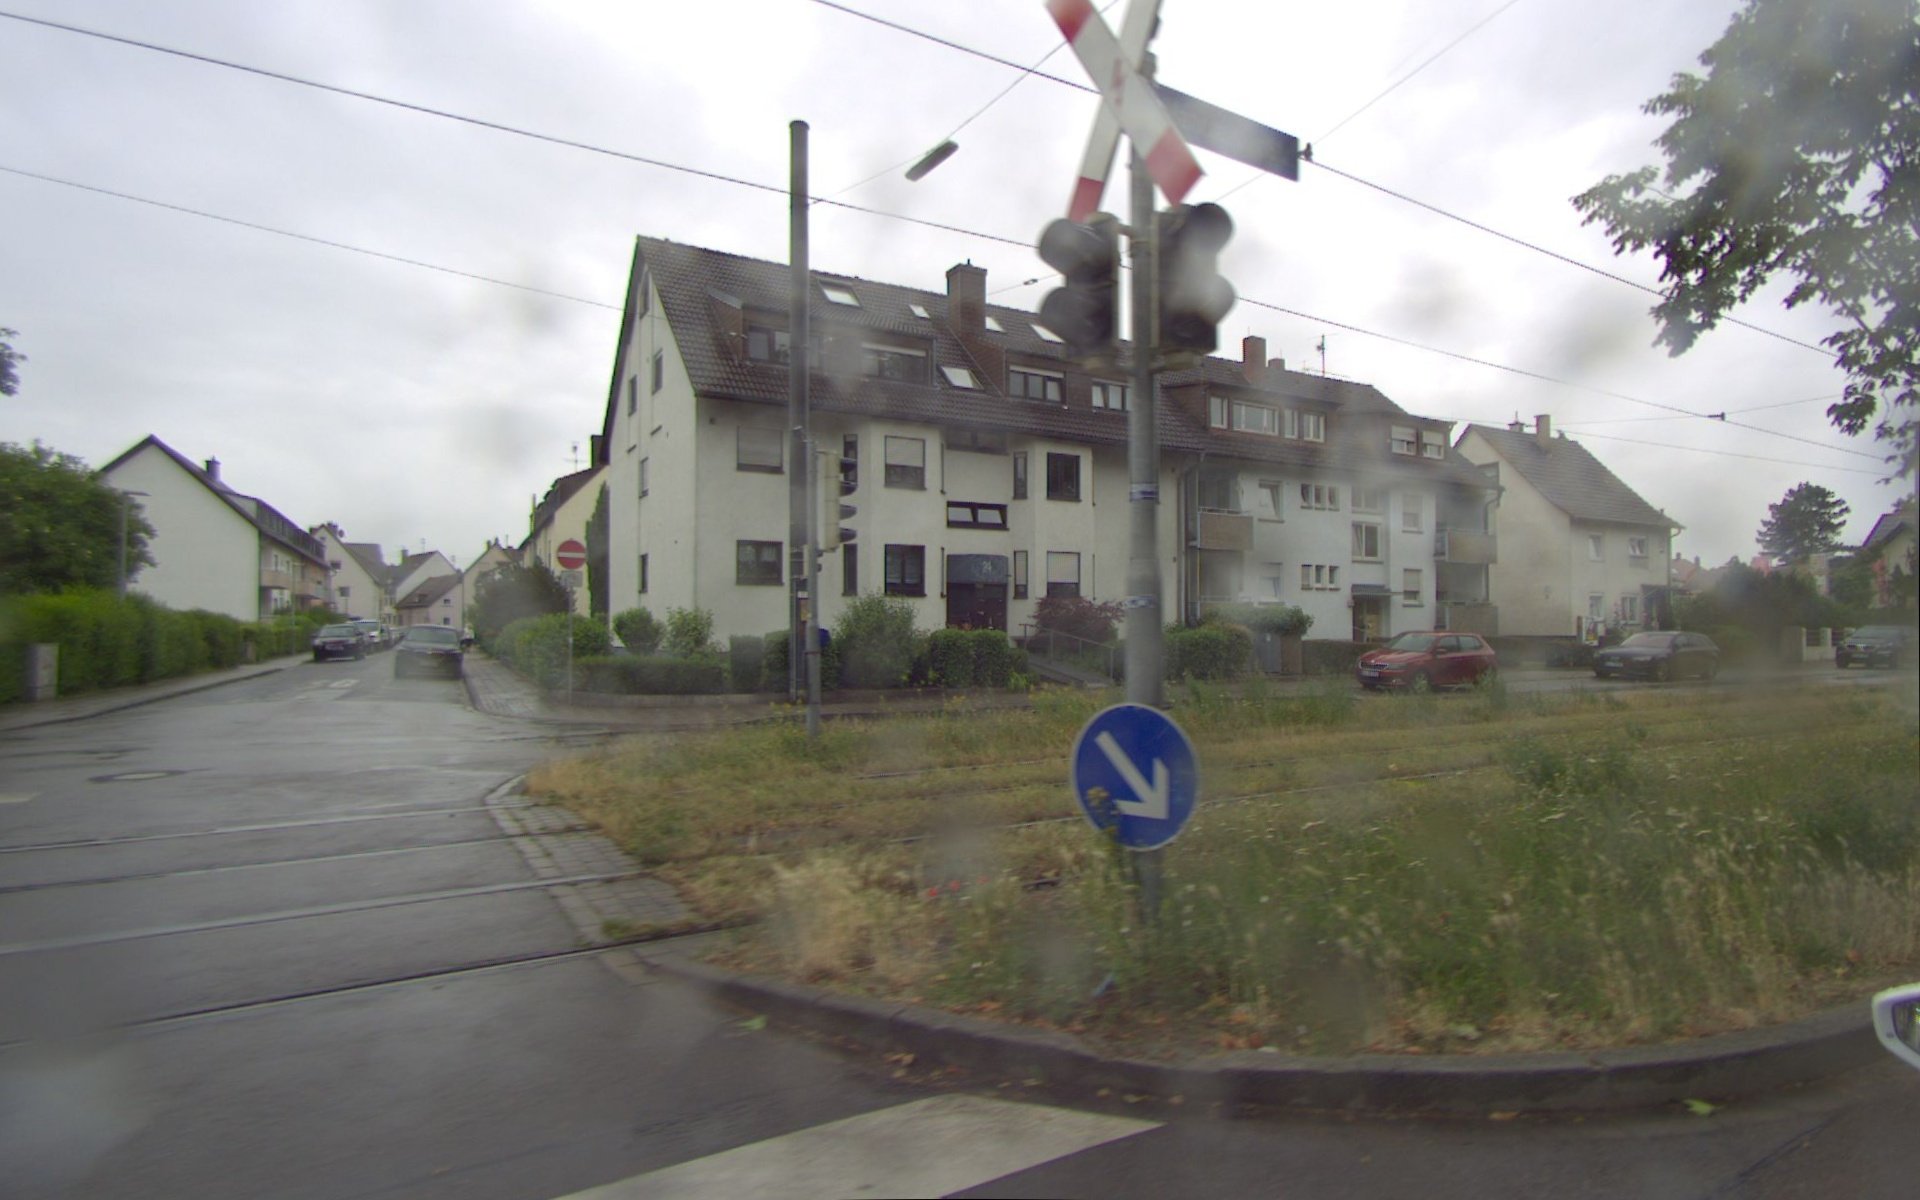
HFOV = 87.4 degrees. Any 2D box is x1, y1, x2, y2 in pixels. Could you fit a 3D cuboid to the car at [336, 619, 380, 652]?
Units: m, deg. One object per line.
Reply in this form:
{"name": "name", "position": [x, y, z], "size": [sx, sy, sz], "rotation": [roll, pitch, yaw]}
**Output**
{"name": "car", "position": [-32.838, 1.936, 54.826], "size": [1.977, 1.674, 3.967], "rotation": [2, -1, -31]}

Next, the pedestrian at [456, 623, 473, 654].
{"name": "pedestrian", "position": [-29.663, 2.303, 60.128], "size": [0.792, 1.776, 0.888], "rotation": [2, -1, -29]}

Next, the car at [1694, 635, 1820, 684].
{"name": "car", "position": [26.533, 1.965, 33.431], "size": [3.951, 1.505, 1.920], "rotation": [2, -1, -28]}

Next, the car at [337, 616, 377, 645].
{"name": "car", "position": [-36.407, 1.831, 60.689], "size": [1.977, 1.674, 3.967], "rotation": [2, -1, -31]}

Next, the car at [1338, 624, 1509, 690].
{"name": "car", "position": [11.608, 1.402, 25.149], "size": [3.951, 1.505, 1.920], "rotation": [2, -1, -28]}

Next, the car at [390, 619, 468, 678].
{"name": "car", "position": [-16.423, 1.464, 31.149], "size": [1.975, 1.674, 3.972], "rotation": [2, -1, -27]}

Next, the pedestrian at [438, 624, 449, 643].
{"name": "pedestrian", "position": [-46.653, 3.015, 90.770], "size": [0.800, 1.674, 0.830], "rotation": [2, -1, -28]}

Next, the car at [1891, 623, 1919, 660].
{"name": "car", "position": [41.000, 1.754, 41.956], "size": [3.951, 1.505, 1.920], "rotation": [2, -1, -28]}

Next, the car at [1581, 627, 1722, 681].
{"name": "car", "position": [20.899, 1.616, 30.352], "size": [3.951, 1.505, 1.920], "rotation": [2, -1, -28]}

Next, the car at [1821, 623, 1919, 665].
{"name": "car", "position": [35.329, 1.695, 38.742], "size": [3.951, 1.505, 1.920], "rotation": [2, -1, -28]}

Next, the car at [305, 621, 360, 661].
{"name": "car", "position": [-28.760, 1.866, 46.126], "size": [1.977, 1.674, 3.967], "rotation": [2, -1, -31]}
